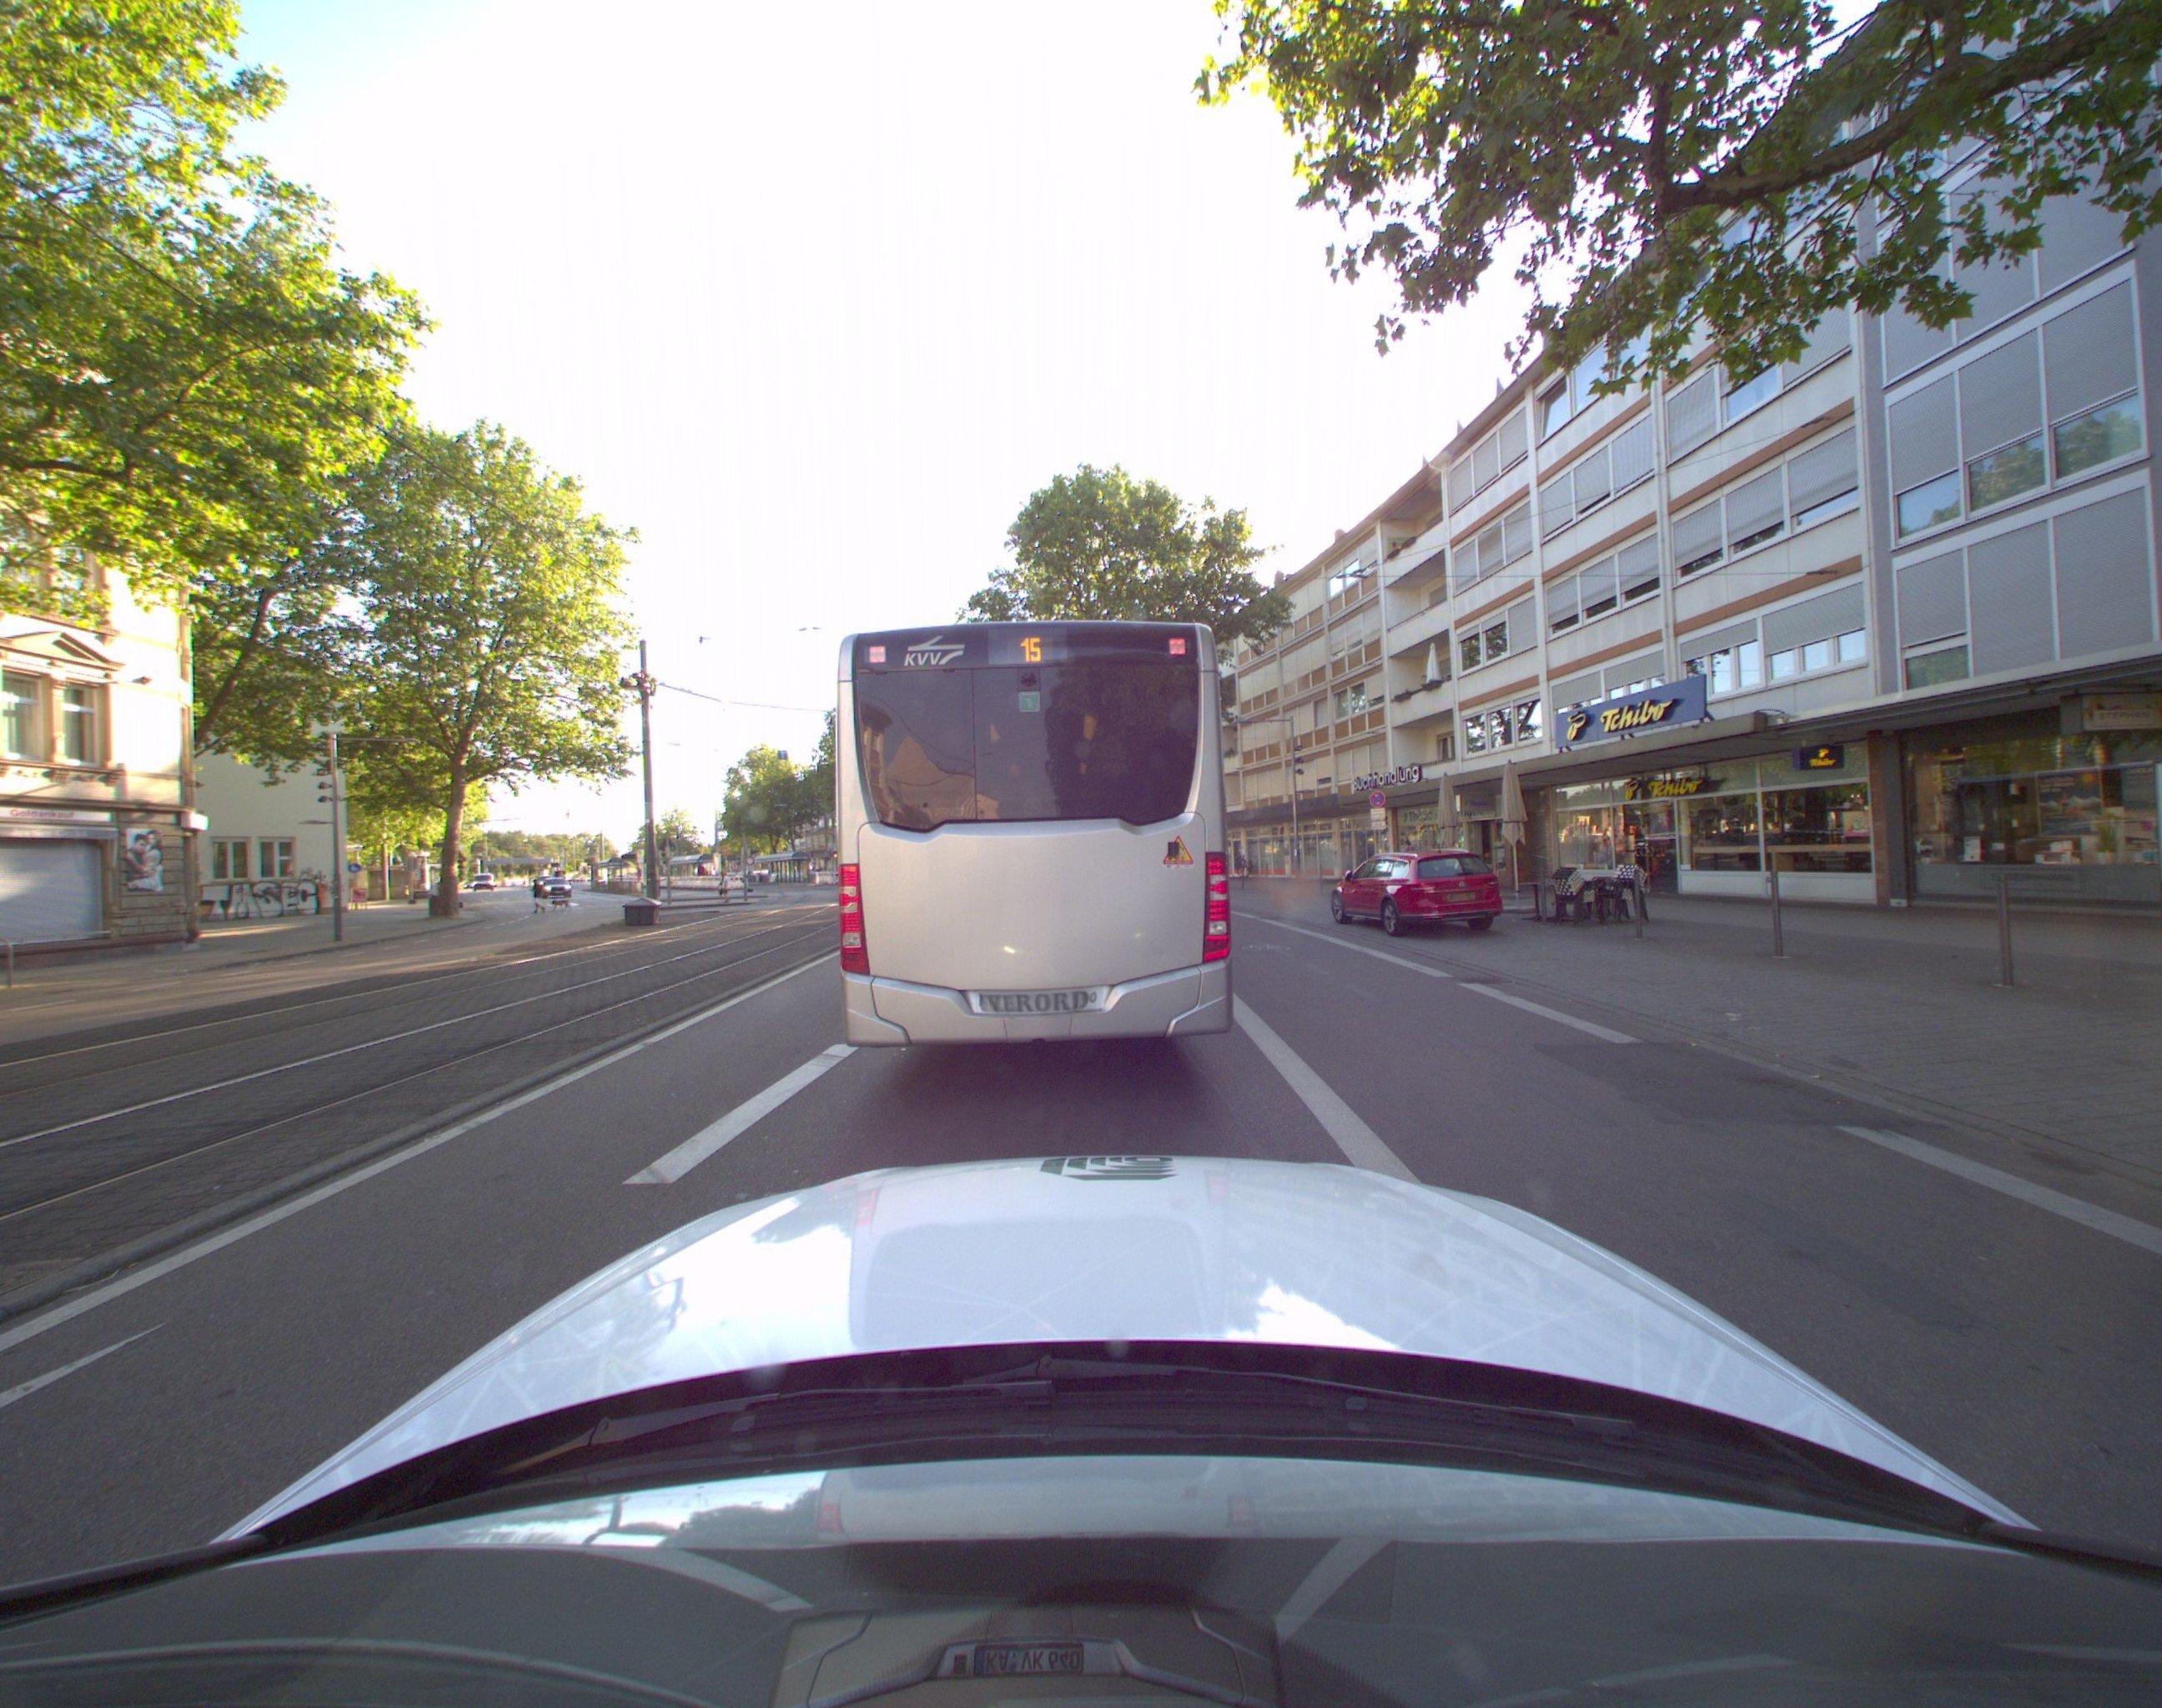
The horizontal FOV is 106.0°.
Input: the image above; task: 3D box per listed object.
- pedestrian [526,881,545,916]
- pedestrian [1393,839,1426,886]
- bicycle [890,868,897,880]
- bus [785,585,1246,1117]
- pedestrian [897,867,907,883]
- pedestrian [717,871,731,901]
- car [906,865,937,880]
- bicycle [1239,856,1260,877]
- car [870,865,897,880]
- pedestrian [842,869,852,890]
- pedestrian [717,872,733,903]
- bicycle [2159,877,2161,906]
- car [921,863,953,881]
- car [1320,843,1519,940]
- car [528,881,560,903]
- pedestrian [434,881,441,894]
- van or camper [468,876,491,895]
[{"bbox_3d":[-27.219,2.226,40.623,0.426,1.710,0.681,-1,-1,33],"label":"pedestrian"},{"bbox_3d":[11.132,0.277,27.615,0.640,1.552,0.804,-2,-1,-13],"label":"pedestrian"},{"bbox_3d":[-19.705,2.105,85.560,0.508,1.211,2.079,-2,0,-19],"label":"bicycle"},{"bbox_3d":[-0.381,0.026,9.999,2.649,3.099,10.214,-2,-1,0],"label":"bus"},{"bbox_3d":[-14.964,1.782,68.063,0.779,1.303,0.590,-2,-1,-19],"label":"pedestrian"},{"bbox_3d":[-17.976,1.608,40.987,0.407,1.504,0.517,-2,-1,0],"label":"pedestrian"},{"bbox_3d":[-16.000,1.857,81.511,1.675,1.394,3.374,-6,2,-37],"label":"car"},{"bbox_3d":[9.362,0.691,45.361,0.438,1.092,1.453,-5,0,-18],"label":"bicycle"},{"bbox_3d":[-21.536,2.050,88.706,1.675,1.468,3.375,-6,2,-36],"label":"car"},{"bbox_3d":[-19.421,2.125,67.714,0.721,1.725,0.397,-2,-1,-14],"label":"pedestrian"},{"bbox_3d":[-17.687,1.657,40.454,0.518,1.504,0.593,-2,-1,-1],"label":"pedestrian"},{"bbox_3d":[8.714,0.671,5.498,0.294,1.040,1.711,-5,0,-12],"label":"bicycle"},{"bbox_3d":[-13.796,1.728,78.141,1.675,1.516,3.376,-6,2,-35],"label":"car"},{"bbox_3d":[6.356,0.639,15.943,1.774,1.496,4.563,-4,0,-2],"label":"car"},{"bbox_3d":[-40.389,2.848,61.250,1.900,1.472,4.161,-2,-1,-35],"label":"car"},{"bbox_3d":[-74.233,3.825,93.962,0.519,1.504,0.552,-2,-1,-36],"label":"pedestrian"},{"bbox_3d":[-76.767,3.992,103.987,2.184,2.319,5.047,-2,-1,-36],"label":"van or camper"}]
